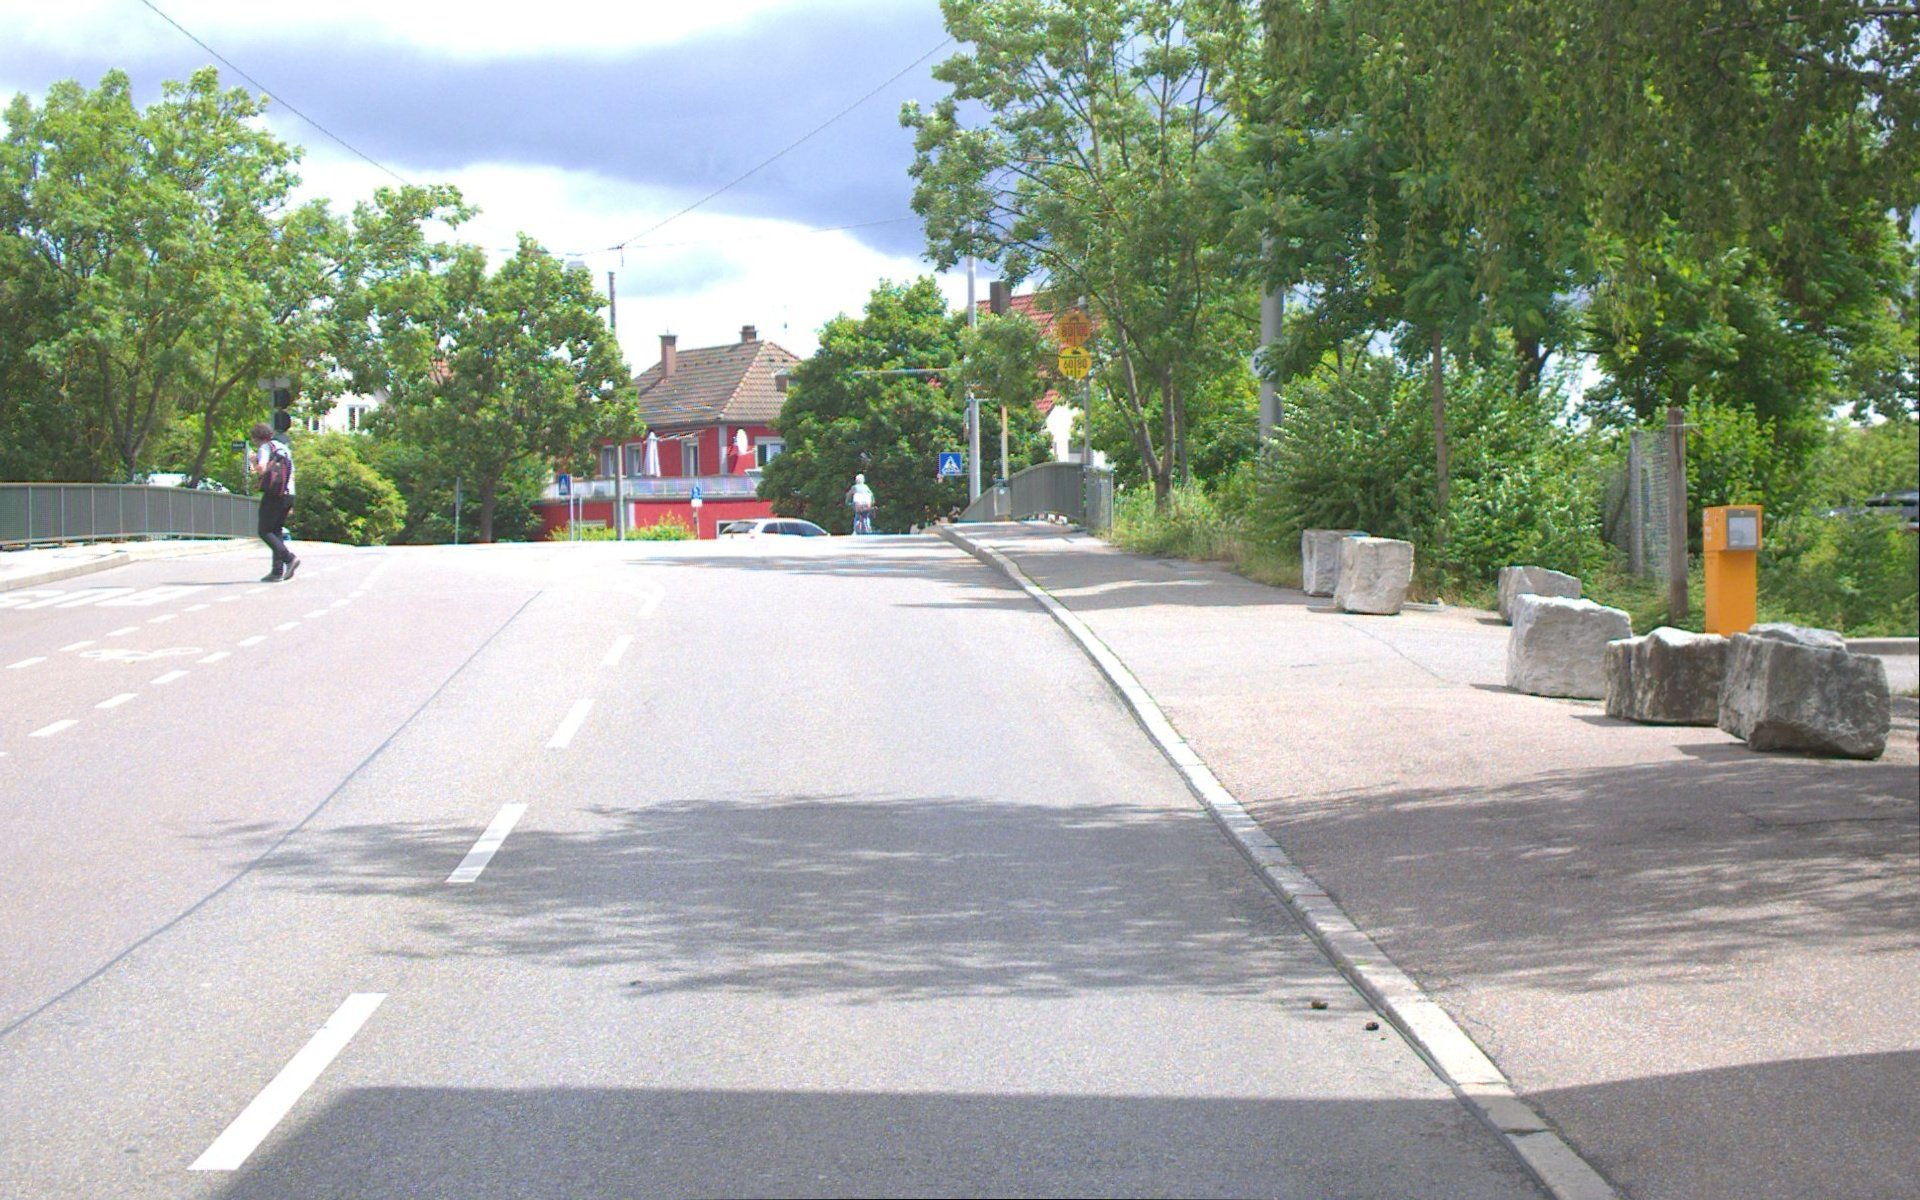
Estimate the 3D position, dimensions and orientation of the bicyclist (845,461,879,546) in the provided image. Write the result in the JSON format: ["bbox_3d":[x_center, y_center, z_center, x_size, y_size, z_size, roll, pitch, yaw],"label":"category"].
[{"bbox_3d":[-2.219,-2.178,77.674,0.684,1.820,1.080,0,-4,2],"label":"bicyclist"}]

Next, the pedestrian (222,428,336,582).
[{"bbox_3d":[-8.232,-1.159,41.589,1.034,1.830,0.999,1,2,14],"label":"pedestrian"}]

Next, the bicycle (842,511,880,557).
[{"bbox_3d":[-2.231,-1.488,77.647,0.687,0.875,2.101,0,-3,3],"label":"bicycle"}]

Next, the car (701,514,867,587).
[{"bbox_3d":[-4.906,-1.386,96.458,1.999,1.825,4.421,2,-1,44],"label":"car"}]

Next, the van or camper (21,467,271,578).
[{"bbox_3d":[-21.001,-1.986,88.852,5.909,2.558,2.194,-2,-2,0],"label":"van or camper"}]
